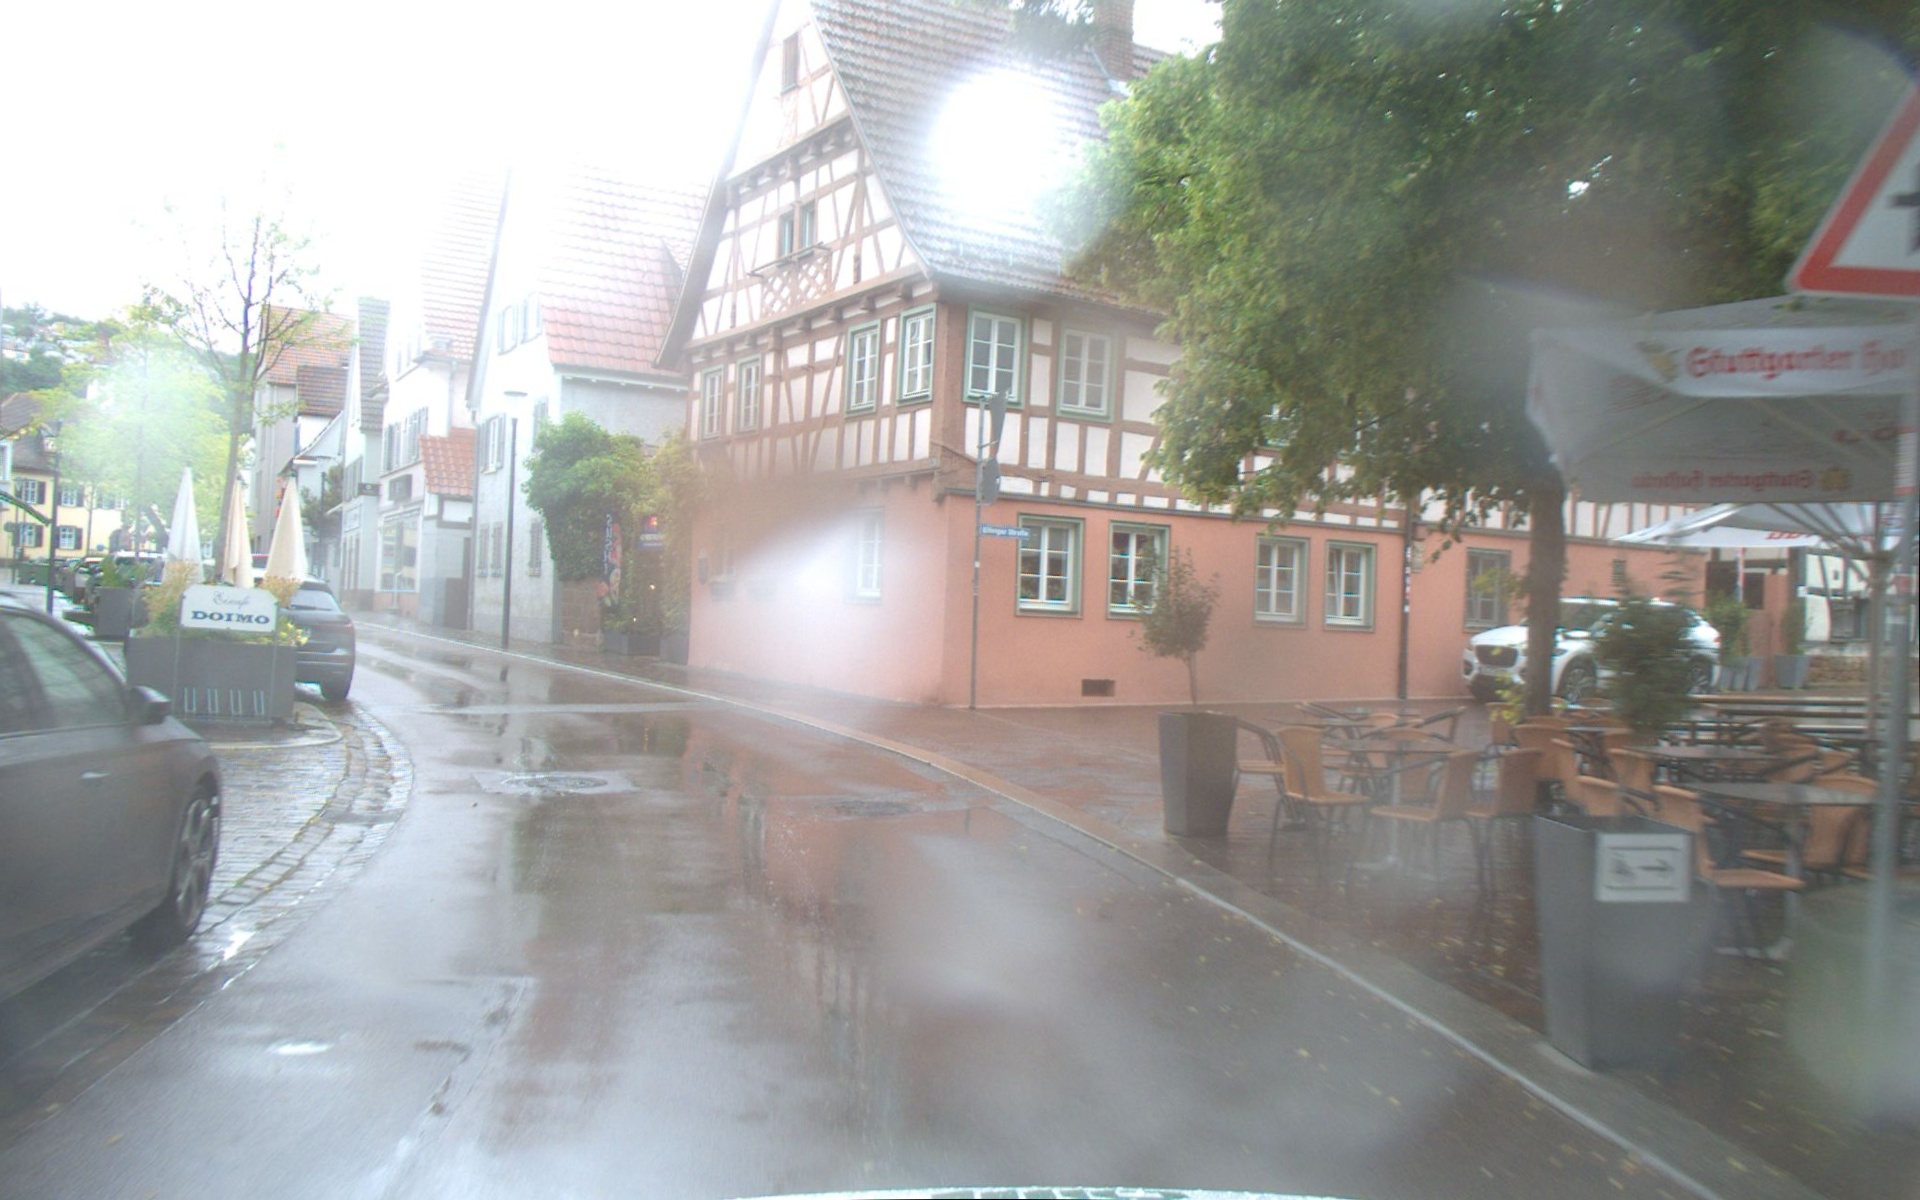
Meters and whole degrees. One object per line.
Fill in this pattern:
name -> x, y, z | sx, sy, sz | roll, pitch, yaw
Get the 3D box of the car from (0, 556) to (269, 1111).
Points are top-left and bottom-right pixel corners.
car -> -3.690, 0.607, 5.154 | 1.842, 1.567, 4.389 | 4, -1, -10

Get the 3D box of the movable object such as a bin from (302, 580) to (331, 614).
movable object such as a bin -> -21.297, -0.083, 54.732 | 0.785, 1.099, 0.608 | 2, -1, -33

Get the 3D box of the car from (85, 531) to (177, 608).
car -> -20.712, -0.702, 41.245 | 1.804, 1.695, 4.598 | 3, -2, -29

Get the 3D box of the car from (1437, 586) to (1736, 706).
car -> 9.881, 0.695, 26.030 | 4.553, 1.661, 1.980 | 1, 2, -31

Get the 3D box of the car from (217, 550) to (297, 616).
car -> -21.731, -0.552, 51.041 | 1.872, 1.843, 3.965 | 4, 0, -27

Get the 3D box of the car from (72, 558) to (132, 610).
car -> -28.958, -0.565, 55.855 | 1.672, 1.565, 4.084 | 4, 0, -27

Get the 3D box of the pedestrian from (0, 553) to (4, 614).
pedestrian -> -26.756, -0.448, 45.333 | 0.781, 1.711, 1.163 | 4, -3, -34

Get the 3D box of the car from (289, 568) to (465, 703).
car -> -7.351, 0.383, 21.065 | 1.833, 1.467, 4.595 | 3, 0, -18
